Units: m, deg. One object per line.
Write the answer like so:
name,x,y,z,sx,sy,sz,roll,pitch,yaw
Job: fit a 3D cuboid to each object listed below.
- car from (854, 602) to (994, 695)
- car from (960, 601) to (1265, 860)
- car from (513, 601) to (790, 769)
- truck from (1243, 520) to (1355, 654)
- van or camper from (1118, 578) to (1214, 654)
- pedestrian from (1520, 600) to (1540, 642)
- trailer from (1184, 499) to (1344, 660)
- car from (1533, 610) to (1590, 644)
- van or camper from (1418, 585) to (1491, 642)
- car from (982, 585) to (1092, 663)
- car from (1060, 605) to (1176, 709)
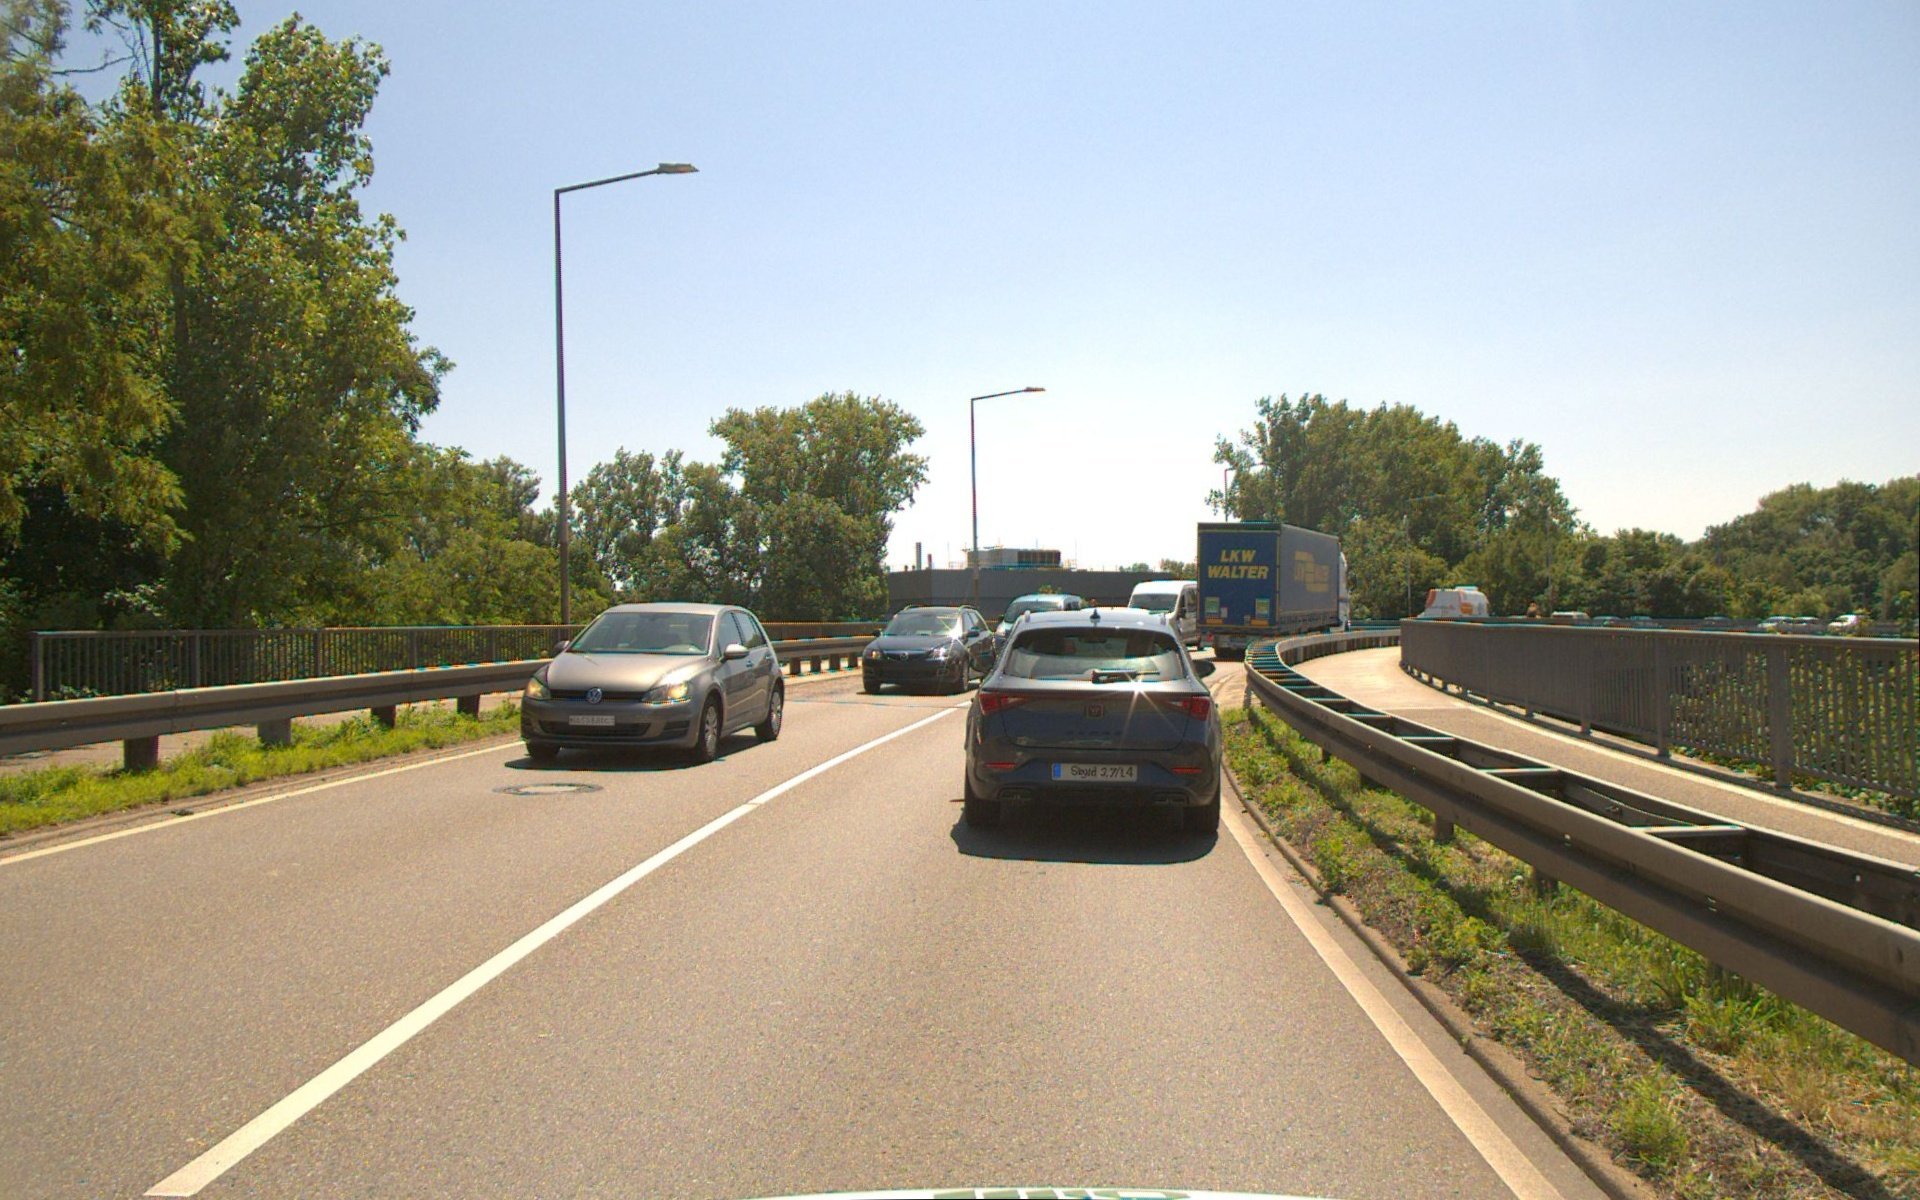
car,-0.542,0.809,29.056,1.719,1.468,4.571,1,-1,8
car,0.978,0.793,11.837,1.807,1.525,3.759,1,0,2
car,-2.924,0.750,16.549,1.680,1.453,4.109,0,0,5
truck,12.778,-0.375,61.881,3.104,4.665,7.398,1,-1,19
van or camper,7.428,0.556,59.091,2.006,2.582,5.883,-1,0,21
pedestrian,27.526,1.036,79.889,0.724,2.002,0.732,1,-1,33
trailer,10.387,-0.502,55.030,3.069,4.695,12.950,2,-1,20
car,35.638,1.630,97.918,1.860,1.882,3.977,1,-1,41
van or camper,25.367,0.693,84.700,2.163,2.759,5.912,0,0,31
car,2.050,0.621,42.999,1.720,1.887,4.276,1,-1,19
car,2.592,0.871,26.479,1.559,1.486,3.547,2,-1,9
